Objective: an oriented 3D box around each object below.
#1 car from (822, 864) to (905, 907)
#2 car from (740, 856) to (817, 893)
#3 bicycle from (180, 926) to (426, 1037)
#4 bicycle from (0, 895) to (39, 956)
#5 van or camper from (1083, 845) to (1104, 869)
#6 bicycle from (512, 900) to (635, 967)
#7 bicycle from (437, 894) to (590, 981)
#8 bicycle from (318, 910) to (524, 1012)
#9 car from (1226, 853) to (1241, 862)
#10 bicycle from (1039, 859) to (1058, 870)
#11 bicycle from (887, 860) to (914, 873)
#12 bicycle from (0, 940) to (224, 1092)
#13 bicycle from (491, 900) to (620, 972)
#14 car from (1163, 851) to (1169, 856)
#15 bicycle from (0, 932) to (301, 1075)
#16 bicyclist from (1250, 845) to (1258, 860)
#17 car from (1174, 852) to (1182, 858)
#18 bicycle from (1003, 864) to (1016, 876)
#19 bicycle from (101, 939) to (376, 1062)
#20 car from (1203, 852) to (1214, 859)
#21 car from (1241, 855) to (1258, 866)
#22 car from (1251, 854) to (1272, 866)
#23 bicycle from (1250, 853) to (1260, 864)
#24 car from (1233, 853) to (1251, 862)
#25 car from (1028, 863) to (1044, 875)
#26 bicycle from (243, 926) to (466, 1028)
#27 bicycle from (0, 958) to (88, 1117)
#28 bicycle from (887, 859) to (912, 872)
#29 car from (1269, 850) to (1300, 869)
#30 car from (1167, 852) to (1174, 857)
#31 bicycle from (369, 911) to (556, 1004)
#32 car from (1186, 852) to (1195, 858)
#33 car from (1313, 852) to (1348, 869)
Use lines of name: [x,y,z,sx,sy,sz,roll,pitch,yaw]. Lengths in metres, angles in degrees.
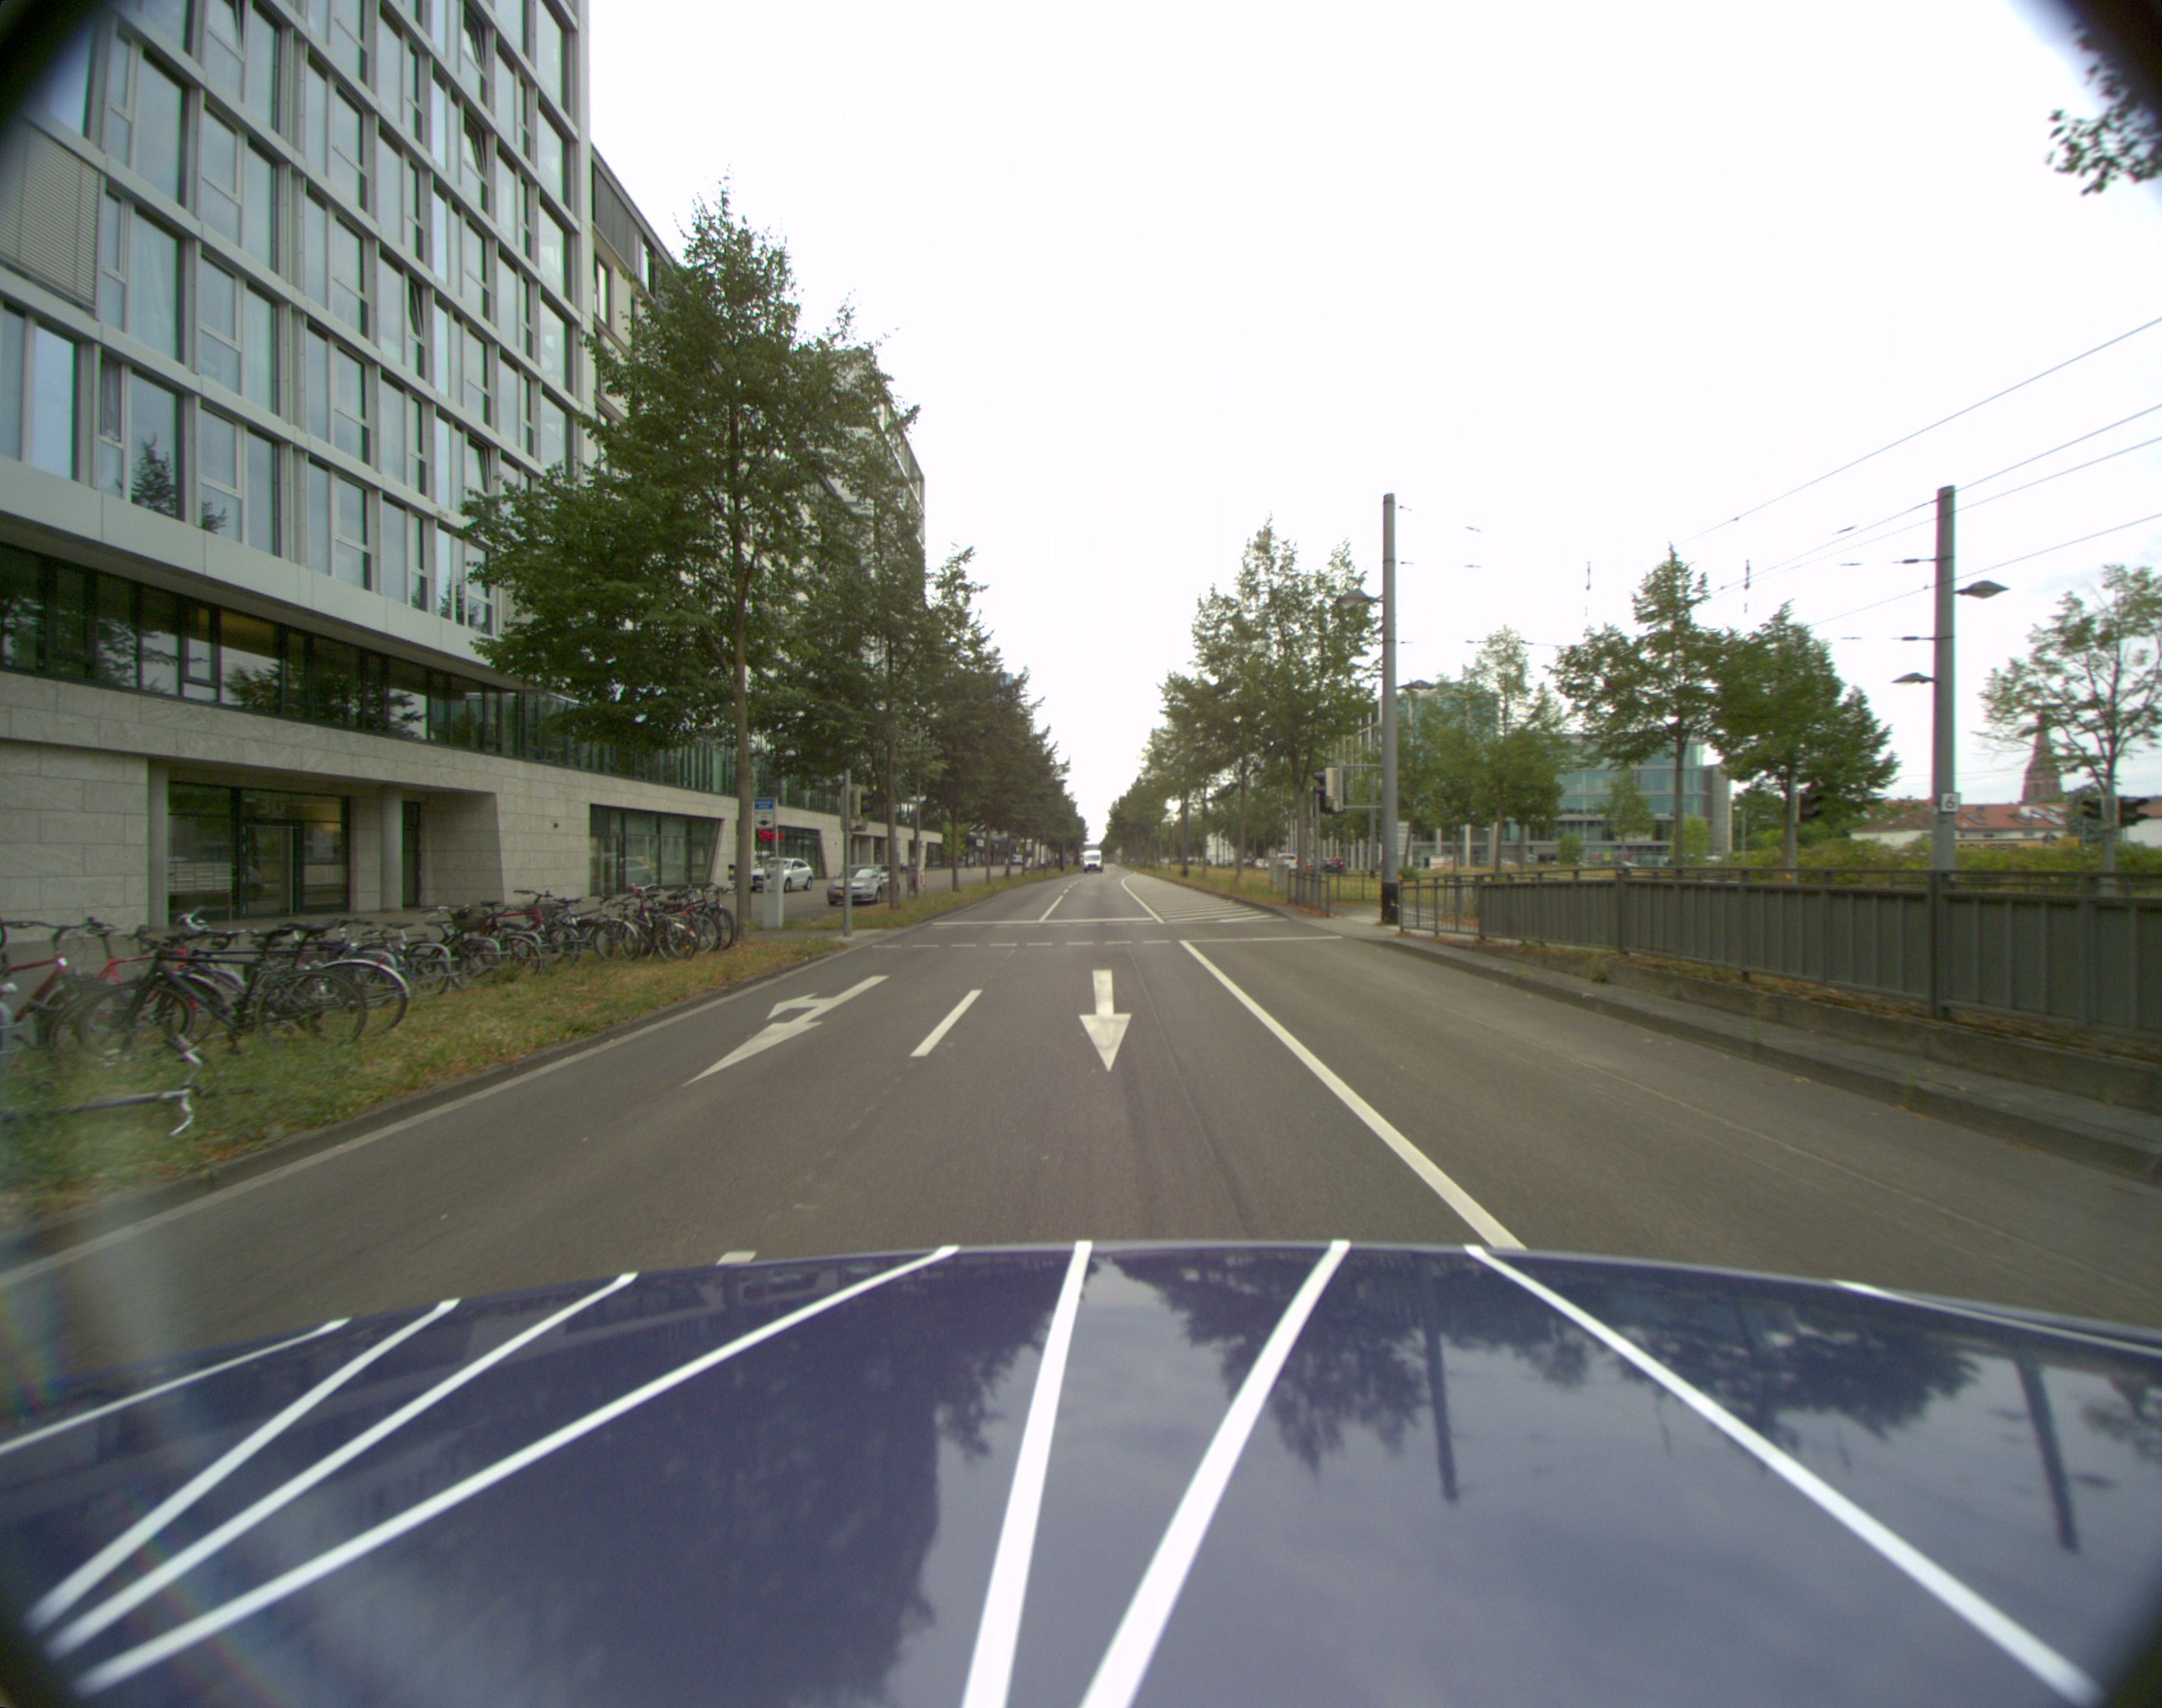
car: [-7.937,1.100,28.092,1.764,1.413,4.183,-1,0,1]
car: [-14.256,0.913,36.091,1.862,1.579,4.240,2,0,1]
bicycle: [-7.885,1.275,7.762,1.720,0.900,0.588,-4,0,-7]
bicycle: [-17.892,1.145,12.199,1.533,0.948,0.533,0,1,-2]
van or camper: [1.361,0.317,84.669,2.183,2.494,6.339,-2,0,0]
bicycle: [-8.079,1.252,12.137,1.533,0.948,0.552,-3,0,-2]
bicycle: [-7.909,1.154,10.626,1.672,1.084,0.525,-3,0,-2]
bicycle: [-7.849,1.251,9.103,1.778,1.006,0.610,-4,0,-7]
car: [25.020,0.564,124.621,1.752,1.448,3.865,0,0,2]
bicycle: [-3.267,1.053,76.485,1.790,1.013,0.422,-1,1,-13]
bicycle: [-17.389,1.180,73.253,2.426,1.170,1.202,0,0,-6]
bicycle: [-7.891,1.242,5.817,1.749,0.968,0.609,-4,0,-7]
bicycle: [-7.835,1.213,11.362,1.533,0.948,0.484,-3,0,-2]
car: [25.498,-0.086,228.252,1.752,1.448,3.865,0,0,2]
bicycle: [-7.913,1.236,6.467,1.720,0.968,0.609,-4,0,-7]
bicyclist: [23.587,-0.206,103.583,0.742,2.002,0.995,-3,1,-1]
car: [25.600,0.297,200.352,1.752,1.448,3.865,0,0,2]
bicycle: [-5.469,1.231,58.271,0.634,0.871,2.116,-2,1,3]
bicycle: [-7.829,1.343,7.127,1.720,0.900,0.588,-4,0,-7]
car: [26.288,0.392,157.167,1.752,1.448,3.865,0,0,2]
car: [23.870,0.948,107.679,1.752,1.448,3.866,0,0,3]
car: [22.766,0.776,95.976,1.753,1.488,3.865,0,0,1]
bicycle: [23.607,0.668,103.252,0.711,1.479,2.358,-3,0,0]
car: [24.165,0.516,114.181,1.998,1.410,4.000,0,0,0]
car: [-6.150,2.055,104.934,1.954,1.521,4.000,0,-1,0]
bicycle: [-7.952,1.327,8.378,1.720,0.900,0.588,-4,0,-7]
bicycle: [-7.906,1.274,4.978,1.749,0.968,0.609,-4,0,-7]
bicycle: [-17.208,1.089,72.022,2.238,1.170,0.975,0,0,-6]
car: [21.829,0.544,81.665,1.998,1.933,5.096,0,0,1]
car: [25.343,0.036,215.042,1.752,1.448,3.865,0,0,2]
bicycle: [-7.926,1.312,9.797,1.778,1.006,0.610,-3,0,-7]
car: [25.772,0.257,178.700,1.752,1.448,3.865,0,0,2]
car: [24.517,0.639,74.851,1.832,1.646,4.691,0,0,-1]
